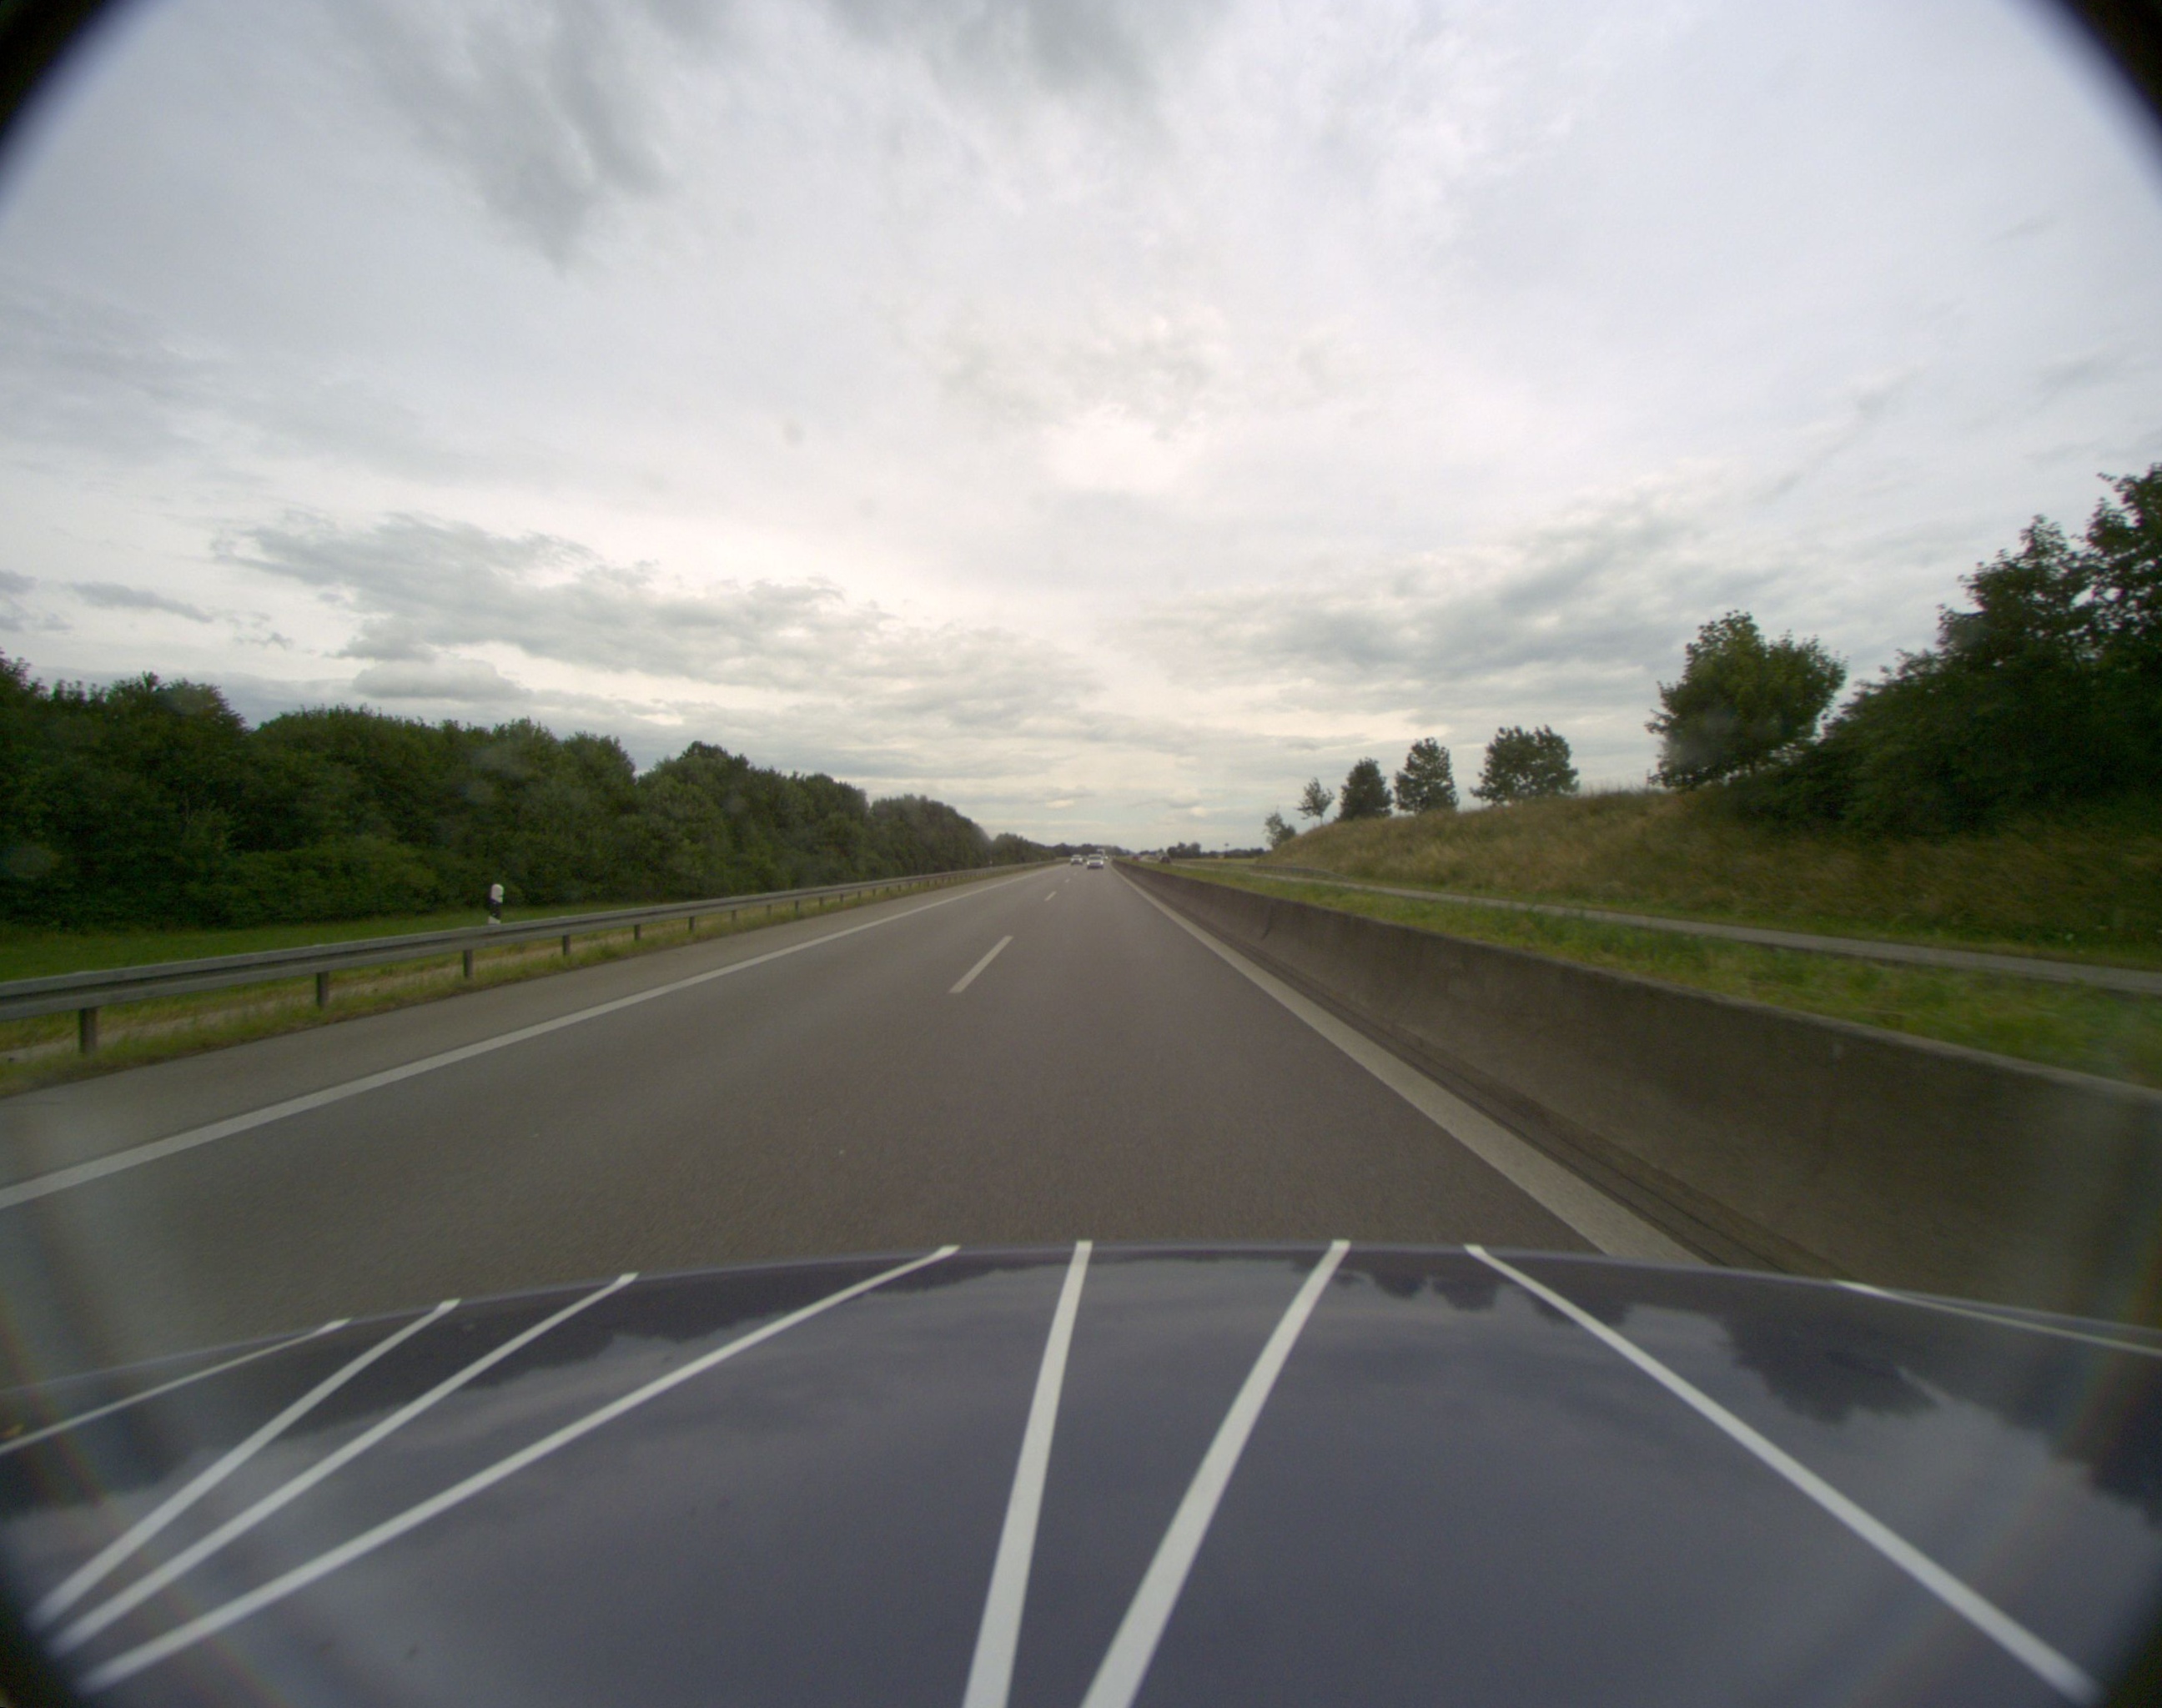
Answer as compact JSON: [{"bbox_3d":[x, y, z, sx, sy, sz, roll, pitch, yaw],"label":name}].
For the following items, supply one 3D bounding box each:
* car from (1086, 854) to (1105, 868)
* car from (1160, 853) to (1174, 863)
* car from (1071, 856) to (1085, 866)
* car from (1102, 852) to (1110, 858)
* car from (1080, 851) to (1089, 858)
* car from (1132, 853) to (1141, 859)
[{"bbox_3d":[1.616,0.764,84.580,1.916,1.553,4.287,-1,1,-2],"label":"car"},{"bbox_3d":[14.003,0.614,124.126,1.850,1.488,4.580,2,0,1],"label":"car"},{"bbox_3d":[-0.471,1.096,124.685,1.915,1.553,4.289,-1,1,3],"label":"car"},{"bbox_3d":[7.001,0.380,211.368,1.915,1.553,4.289,-1,1,3],"label":"car"},{"bbox_3d":[0.800,0.144,172.368,1.915,1.553,4.289,-1,1,3],"label":"car"},{"bbox_3d":[12.978,0.452,177.379,1.850,1.562,4.361,1,0,1],"label":"car"}]
